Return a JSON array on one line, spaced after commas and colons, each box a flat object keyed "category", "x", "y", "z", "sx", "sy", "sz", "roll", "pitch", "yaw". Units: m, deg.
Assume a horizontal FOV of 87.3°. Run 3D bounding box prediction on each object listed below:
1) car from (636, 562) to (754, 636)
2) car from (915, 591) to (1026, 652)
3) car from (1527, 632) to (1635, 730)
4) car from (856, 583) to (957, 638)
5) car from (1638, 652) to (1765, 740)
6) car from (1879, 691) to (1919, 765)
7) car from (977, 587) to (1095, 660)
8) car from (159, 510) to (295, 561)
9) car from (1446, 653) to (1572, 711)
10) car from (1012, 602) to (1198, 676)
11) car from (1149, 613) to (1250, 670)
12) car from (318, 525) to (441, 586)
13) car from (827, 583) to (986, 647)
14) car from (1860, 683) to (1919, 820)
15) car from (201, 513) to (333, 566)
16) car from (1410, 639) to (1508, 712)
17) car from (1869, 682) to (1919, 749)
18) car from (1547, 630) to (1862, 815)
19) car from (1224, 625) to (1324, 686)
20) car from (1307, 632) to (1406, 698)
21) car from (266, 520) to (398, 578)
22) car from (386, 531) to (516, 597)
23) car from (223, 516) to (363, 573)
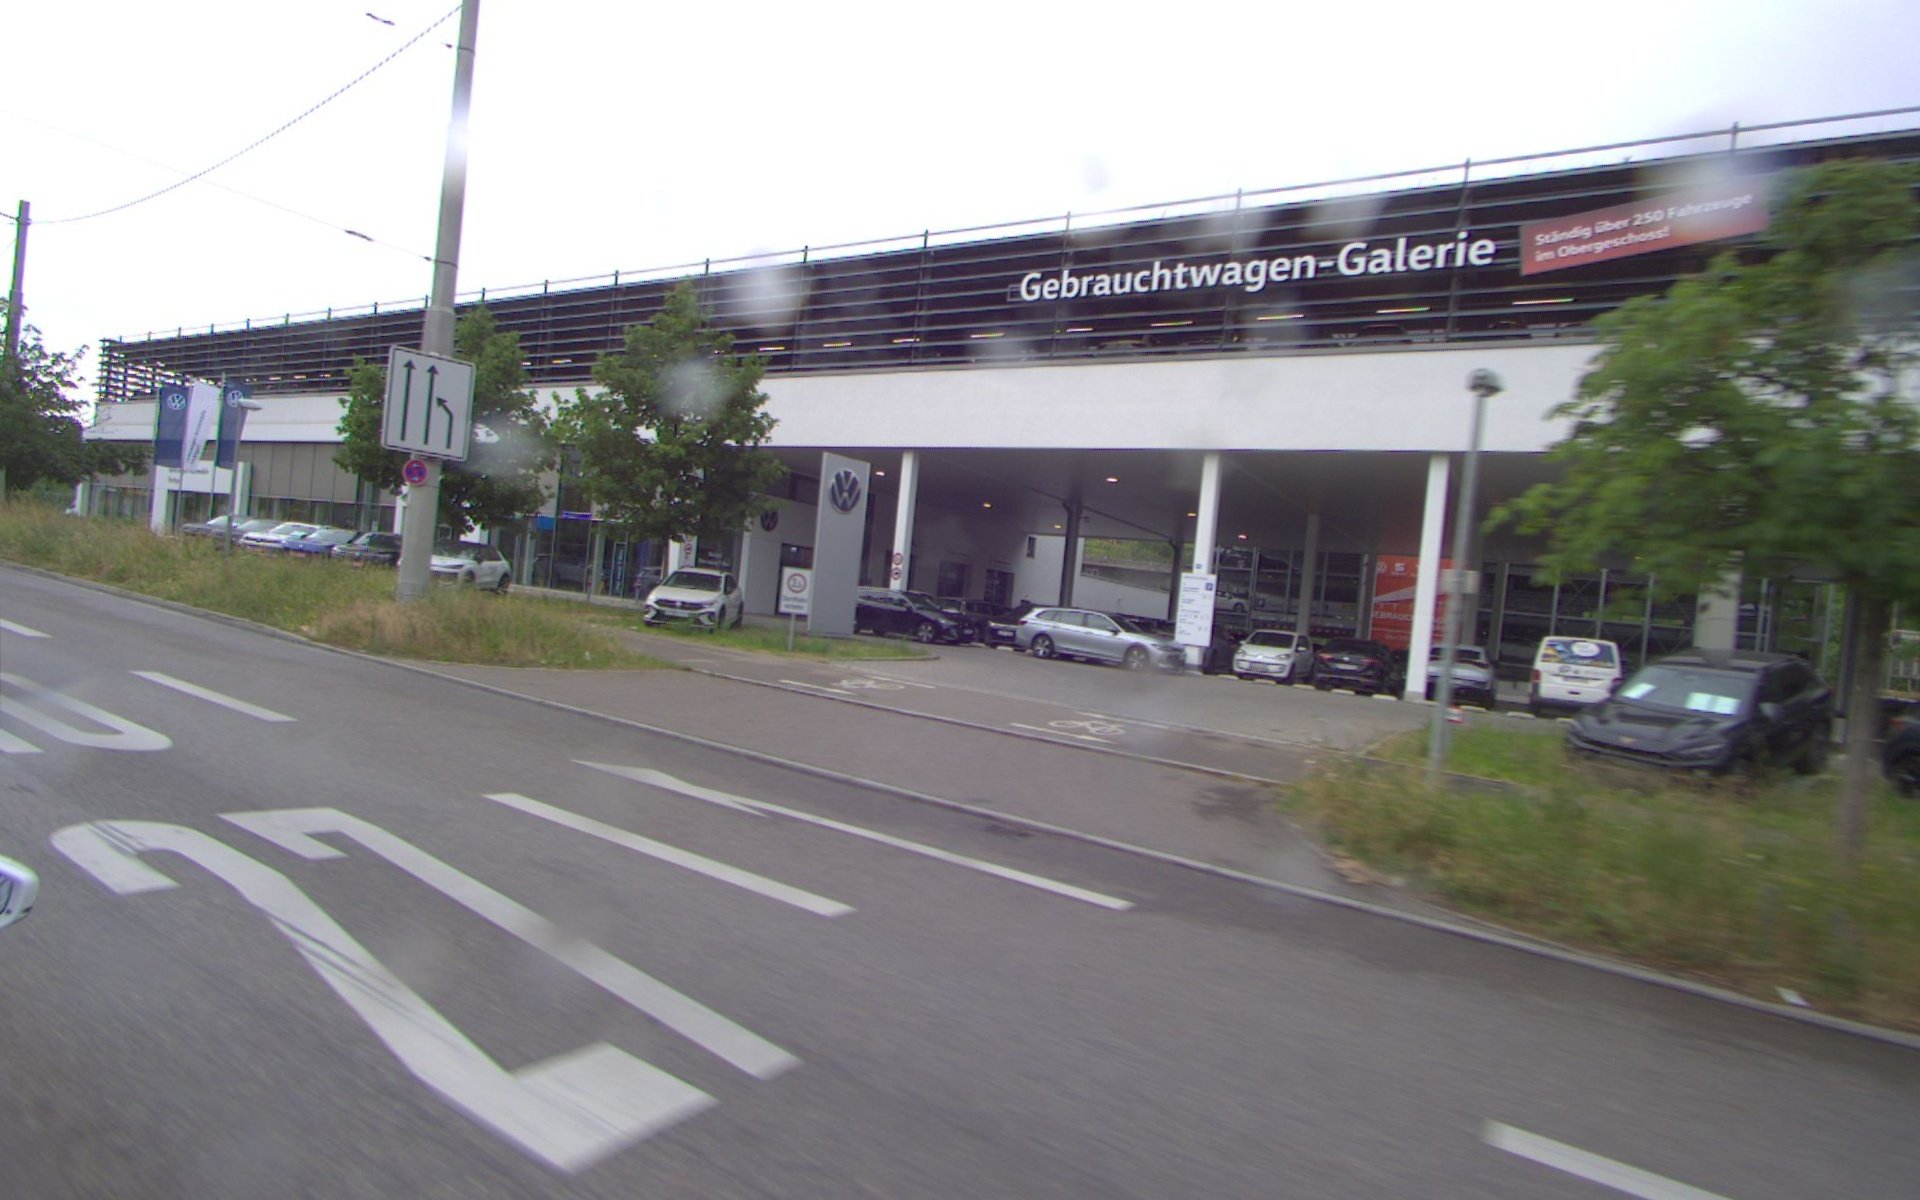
[{"category": "car", "x": -6.335, "y": -0.041, "z": 24.497, "sx": 1.715, "sy": 1.484, "sz": 4.097, "roll": 5, "pitch": 1, "yaw": -1}, {"category": "car", "x": 0.423, "y": 0.764, "z": 34.131, "sx": 1.757, "sy": 1.525, "sz": 3.994, "roll": 7, "pitch": -3, "yaw": 34}, {"category": "car", "x": 15.308, "y": 1.965, "z": 24.892, "sx": 1.912, "sy": 2.000, "sz": 4.031, "roll": 7, "pitch": 0, "yaw": 31}, {"category": "car", "x": -1.863, "y": 0.422, "z": 36.001, "sx": 1.611, "sy": 1.607, "sz": 3.820, "roll": 7, "pitch": 0, "yaw": 31}, {"category": "car", "x": 17.304, "y": 2.192, "z": 23.655, "sx": 1.873, "sy": 1.652, "sz": 3.991, "roll": 7, "pitch": 0, "yaw": 31}, {"category": "car", "x": 21.893, "y": 2.915, "z": 21.973, "sx": 1.695, "sy": 1.532, "sz": 4.037, "roll": 7, "pitch": 0, "yaw": 30}, {"category": "car", "x": 2.485, "y": 0.790, "z": 32.143, "sx": 1.861, "sy": 1.747, "sz": 3.994, "roll": 7, "pitch": -3, "yaw": 34}, {"category": "car", "x": -29.035, "y": -2.509, "z": 40.081, "sx": 1.817, "sy": 1.589, "sz": 4.624, "roll": 5, "pitch": 1, "yaw": 2}, {"category": "car", "x": 20.650, "y": 3.048, "z": 37.866, "sx": 3.934, "sy": 1.612, "sz": 1.807, "roll": 7, "pitch": 1, "yaw": 32}, {"category": "car", "x": 3.970, "y": 1.040, "z": 27.773, "sx": 4.618, "sy": 1.487, "sz": 1.895, "roll": 6, "pitch": 1, "yaw": 32}, {"category": "car", "x": 7.320, "y": 1.301, "z": 30.534, "sx": 1.735, "sy": 1.442, "sz": 3.991, "roll": 7, "pitch": 0, "yaw": 31}, {"category": "car", "x": -17.808, "y": -1.318, "z": 31.090, "sx": 1.768, "sy": 1.589, "sz": 4.182, "roll": 5, "pitch": 1, "yaw": -8}, {"category": "car", "x": -1.694, "y": 0.456, "z": 30.975, "sx": 4.617, "sy": 1.487, "sz": 1.780, "roll": 6, "pitch": 1, "yaw": 32}, {"category": "car", "x": 12.853, "y": 2.037, "z": 11.157, "sx": 1.834, "sy": 1.633, "sz": 4.333, "roll": 6, "pitch": 1, "yaw": 3}, {"category": "car", "x": -25.852, "y": -2.210, "z": 37.730, "sx": 1.765, "sy": 1.589, "sz": 4.373, "roll": 5, "pitch": 1, "yaw": 1}, {"category": "car", "x": 13.300, "y": 1.983, "z": 26.701, "sx": 1.873, "sy": 1.556, "sz": 3.991, "roll": 7, "pitch": 0, "yaw": 31}, {"category": "car", "x": 32.353, "y": 3.911, "z": 32.452, "sx": 4.031, "sy": 2.039, "sz": 1.995, "roll": 5, "pitch": 0, "yaw": 32}, {"category": "car", "x": 9.946, "y": 1.573, "z": 13.318, "sx": 4.675, "sy": 1.901, "sz": 1.807, "roll": 5, "pitch": 2, "yaw": -35}, {"category": "car", "x": 9.127, "y": 1.625, "z": 29.038, "sx": 1.735, "sy": 1.442, "sz": 3.991, "roll": 7, "pitch": 0, "yaw": 31}, {"category": "car", "x": 10.825, "y": 1.762, "z": 27.307, "sx": 1.735, "sy": 1.463, "sz": 3.991, "roll": 7, "pitch": 0, "yaw": 31}, {"category": "car", "x": -20.637, "y": -1.621, "z": 33.265, "sx": 1.766, "sy": 1.589, "sz": 4.186, "roll": 5, "pitch": 1, "yaw": -2}, {"category": "car", "x": -14.478, "y": -0.993, "z": 28.875, "sx": 1.766, "sy": 1.589, "sz": 4.095, "roll": 5, "pitch": 1, "yaw": -4}, {"category": "car", "x": -23.367, "y": -1.899, "z": 35.481, "sx": 1.821, "sy": 1.647, "sz": 4.353, "roll": 5, "pitch": 1, "yaw": 2}]
